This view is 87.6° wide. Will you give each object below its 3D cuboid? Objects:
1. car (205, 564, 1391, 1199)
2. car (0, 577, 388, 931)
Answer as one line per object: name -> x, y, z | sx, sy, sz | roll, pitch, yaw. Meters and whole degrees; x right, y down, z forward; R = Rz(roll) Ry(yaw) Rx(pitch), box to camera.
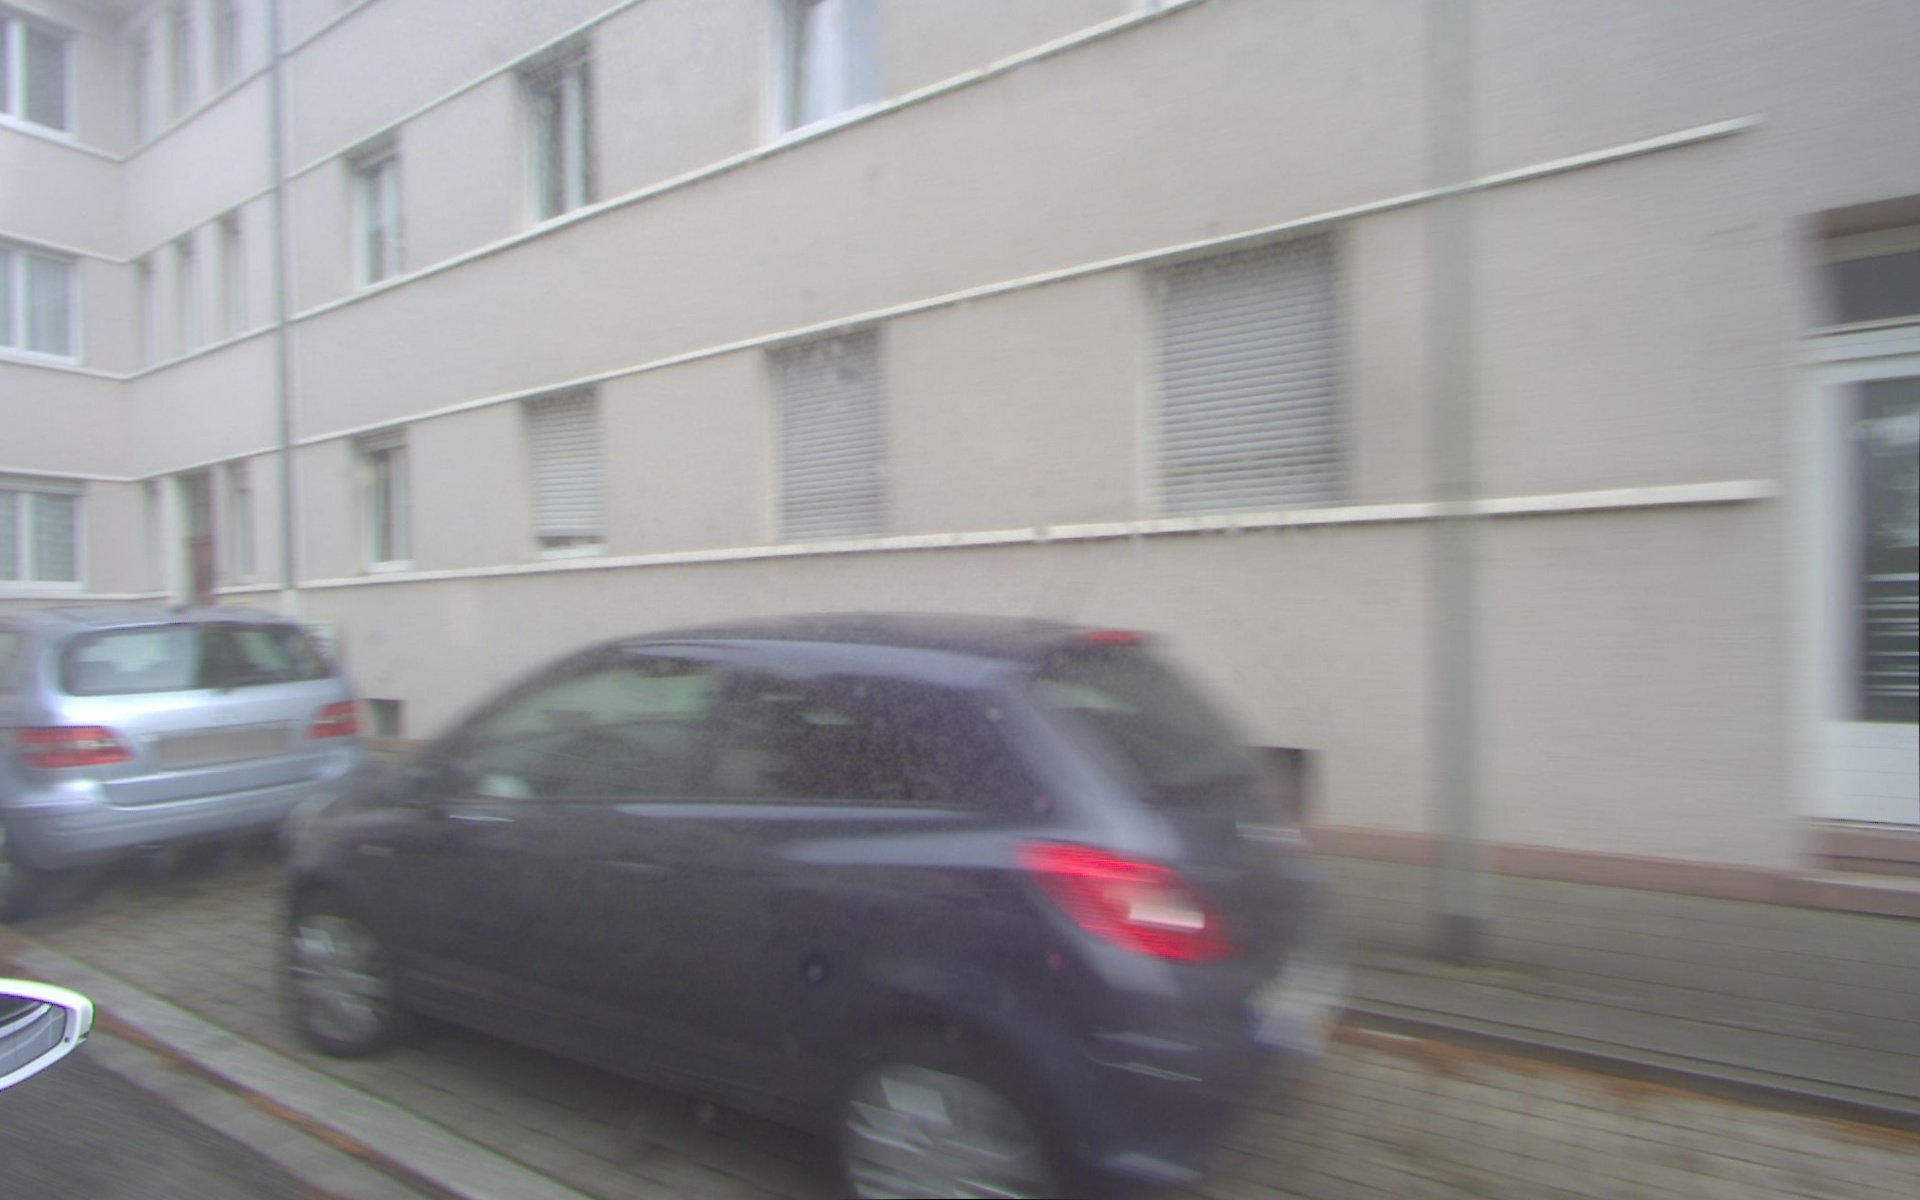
car -> -0.755, 0.763, 3.458 | 3.882, 1.509, 1.753 | -2, -1, 33
car -> -5.671, 0.790, 6.586 | 4.145, 1.648, 1.752 | -2, -1, 36
